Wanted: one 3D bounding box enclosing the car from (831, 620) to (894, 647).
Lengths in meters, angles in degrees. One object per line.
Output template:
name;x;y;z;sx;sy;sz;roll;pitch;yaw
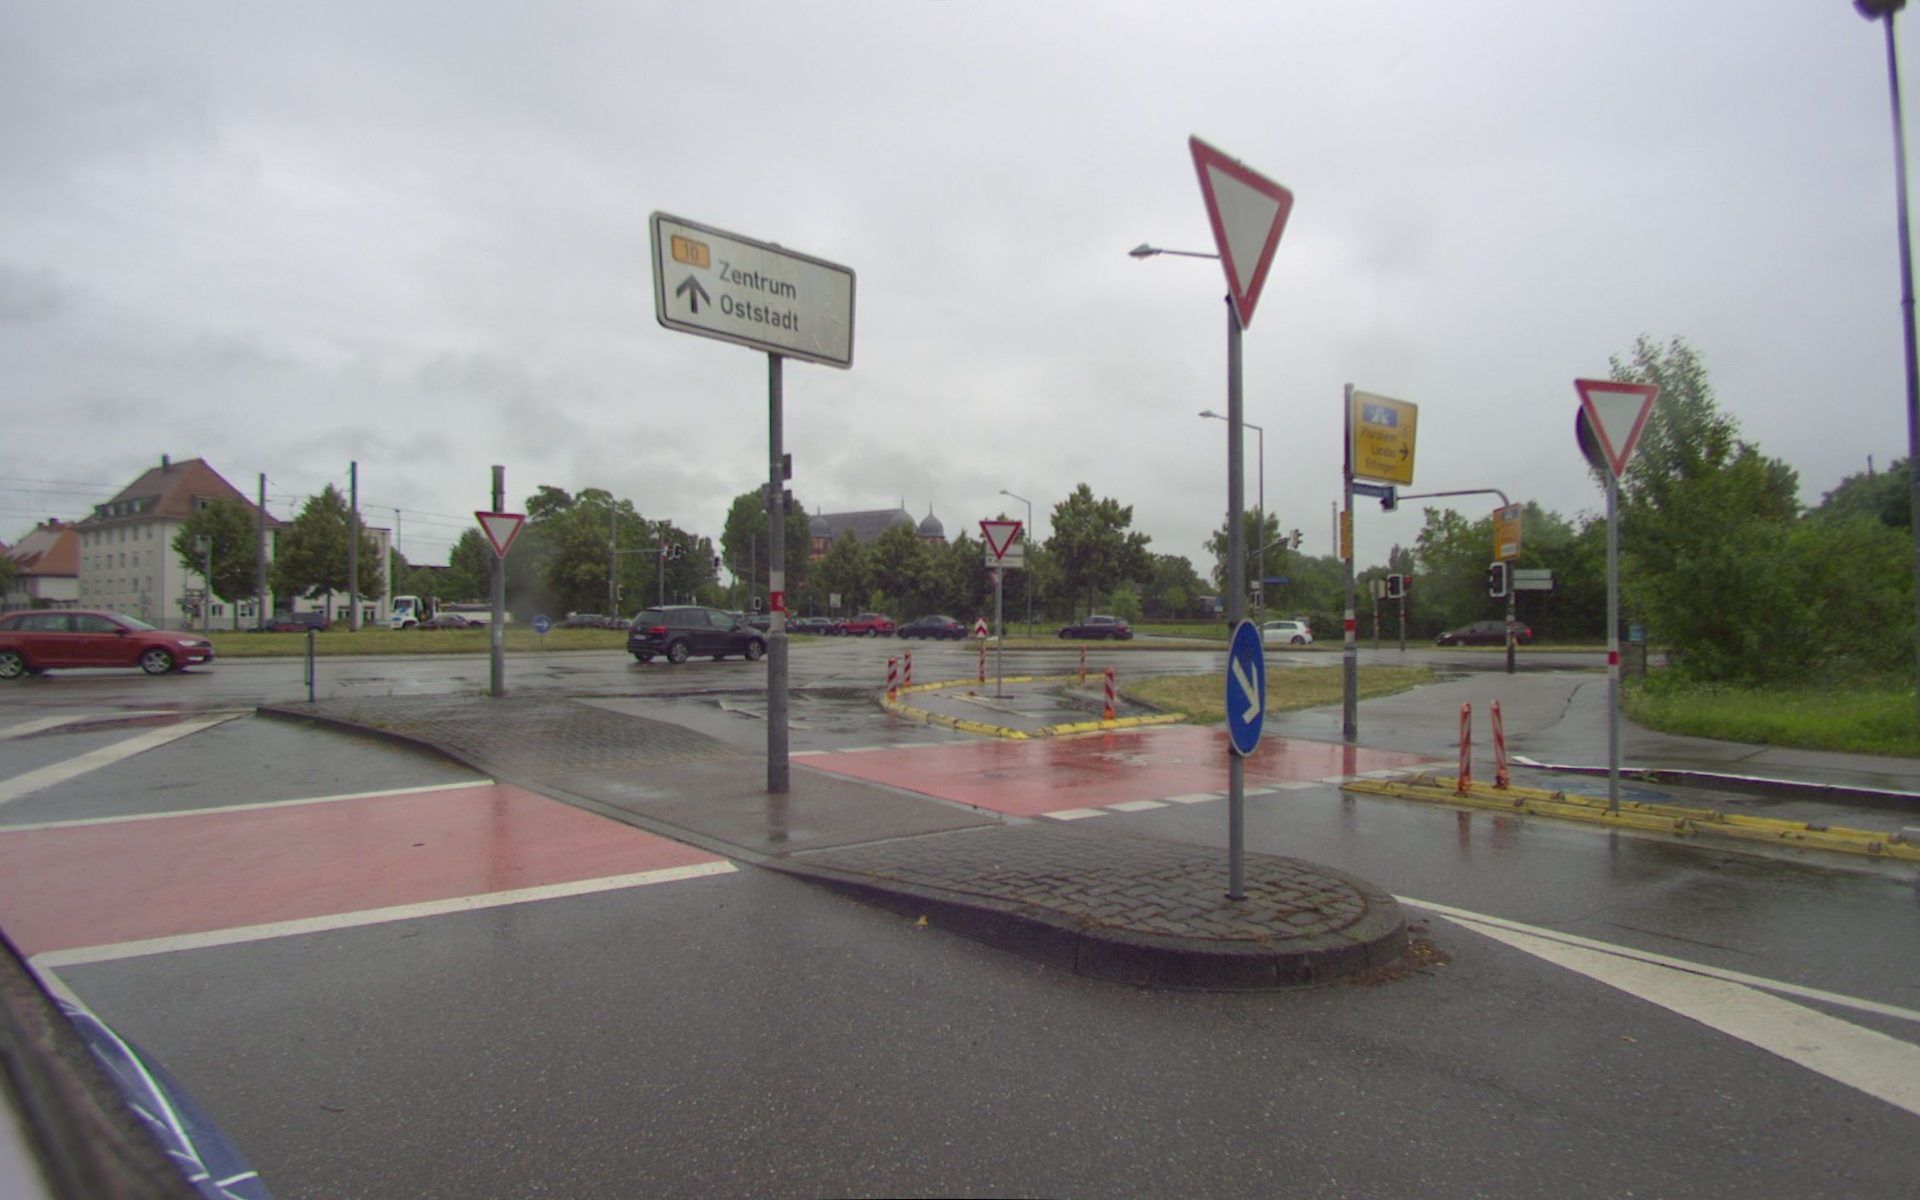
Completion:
car;-6.911;2.323;71.518;4.384;1.660;1.768;2;1;35

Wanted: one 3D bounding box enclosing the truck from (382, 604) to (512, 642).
truck;-39.096;1.767;77.415;8.645;2.731;2.007;1;0;-20

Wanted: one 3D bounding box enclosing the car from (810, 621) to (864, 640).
car;-9.503;2.370;78.379;3.943;1.461;1.847;0;-1;-1

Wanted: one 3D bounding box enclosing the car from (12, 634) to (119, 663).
car;-53.365;2.867;60.472;1.605;1.503;4.503;1;0;30

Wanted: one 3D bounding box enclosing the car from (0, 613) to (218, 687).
car;-19.307;1.072;22.527;4.240;1.470;1.795;-1;0;-25

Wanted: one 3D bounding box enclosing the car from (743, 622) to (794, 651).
car;-12.670;2.388;66.746;1.759;1.660;4.407;1;1;-32

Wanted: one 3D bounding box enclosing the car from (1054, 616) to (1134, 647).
car;7.954;1.844;60.061;4.369;1.660;1.772;2;0;29

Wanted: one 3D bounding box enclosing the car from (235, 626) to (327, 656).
car;-43.465;2.585;64.863;4.786;1.757;1.782;1;0;-37

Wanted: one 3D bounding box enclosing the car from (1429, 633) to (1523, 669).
car;26.814;2.645;52.700;3.961;1.660;1.781;1;0;14

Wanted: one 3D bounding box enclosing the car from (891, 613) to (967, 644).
car;-1.891;1.686;60.506;4.385;1.660;1.767;2;1;36

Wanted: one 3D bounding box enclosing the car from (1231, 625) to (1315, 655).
car;16.951;2.162;54.993;4.206;1.386;1.626;1;0;12

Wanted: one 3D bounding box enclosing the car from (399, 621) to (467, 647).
car;-36.667;2.371;70.465;3.931;1.660;1.795;1;0;-18

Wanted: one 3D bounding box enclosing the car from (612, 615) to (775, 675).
car;-7.513;1.214;28.830;1.787;1.529;4.275;0;0;39
